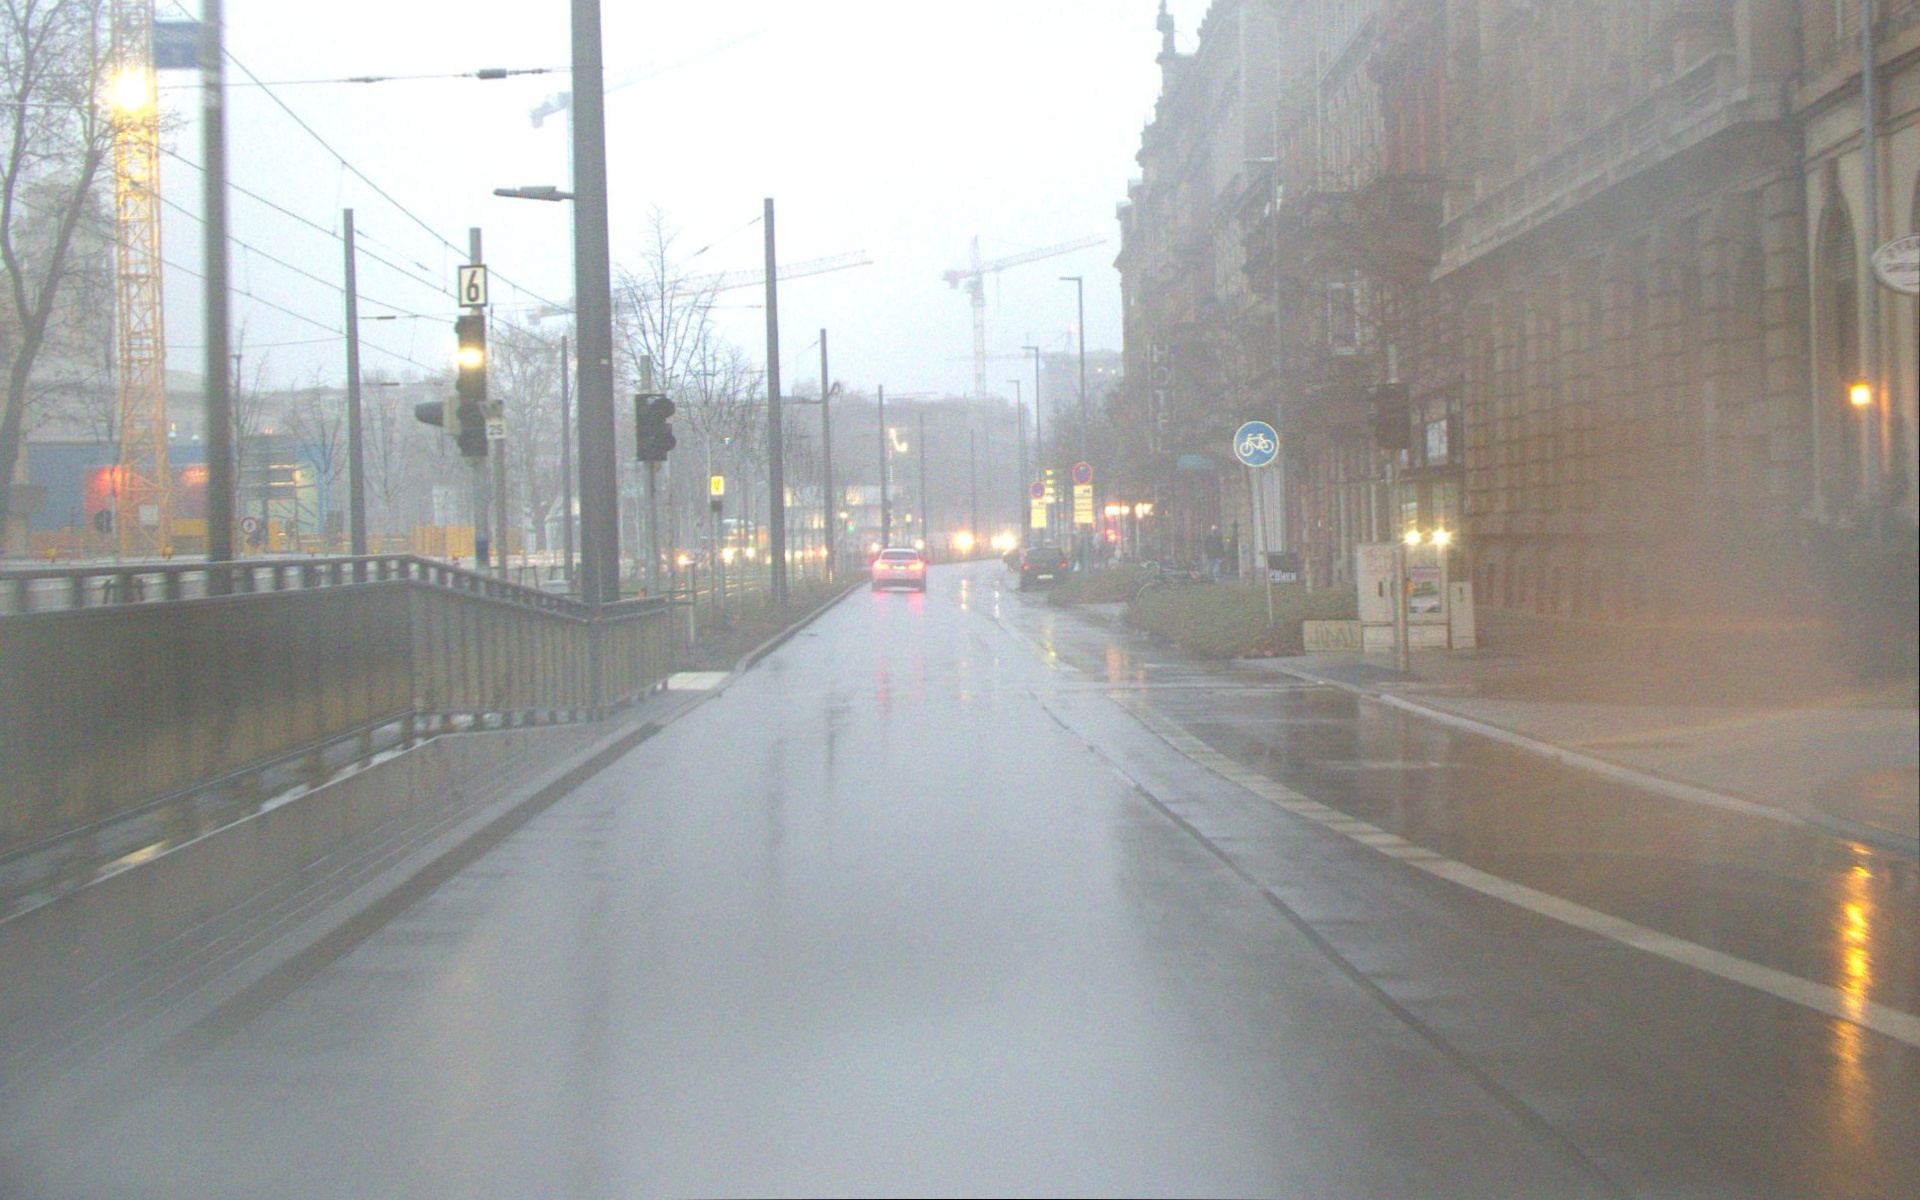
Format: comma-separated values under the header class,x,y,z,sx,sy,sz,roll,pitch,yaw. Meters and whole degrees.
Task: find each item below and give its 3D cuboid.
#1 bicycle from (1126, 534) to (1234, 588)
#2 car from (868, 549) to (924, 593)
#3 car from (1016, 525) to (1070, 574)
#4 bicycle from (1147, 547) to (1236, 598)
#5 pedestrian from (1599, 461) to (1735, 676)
class,x,y,z,sx,sy,sz,roll,pitch,yaw
bicycle,4.545,-0.815,71.015,2.146,1.053,0.526,-2,1,-6
car,-2.210,-1.009,118.987,1.784,1.462,3.148,-1,1,1
car,2.849,-1.734,117.598,1.799,1.598,3.770,-2,1,2
bicycle,5.045,-0.610,74.907,1.851,1.054,0.471,-2,1,-3
pedestrian,6.734,-0.303,32.763,0.853,2.007,0.918,-2,1,-30
